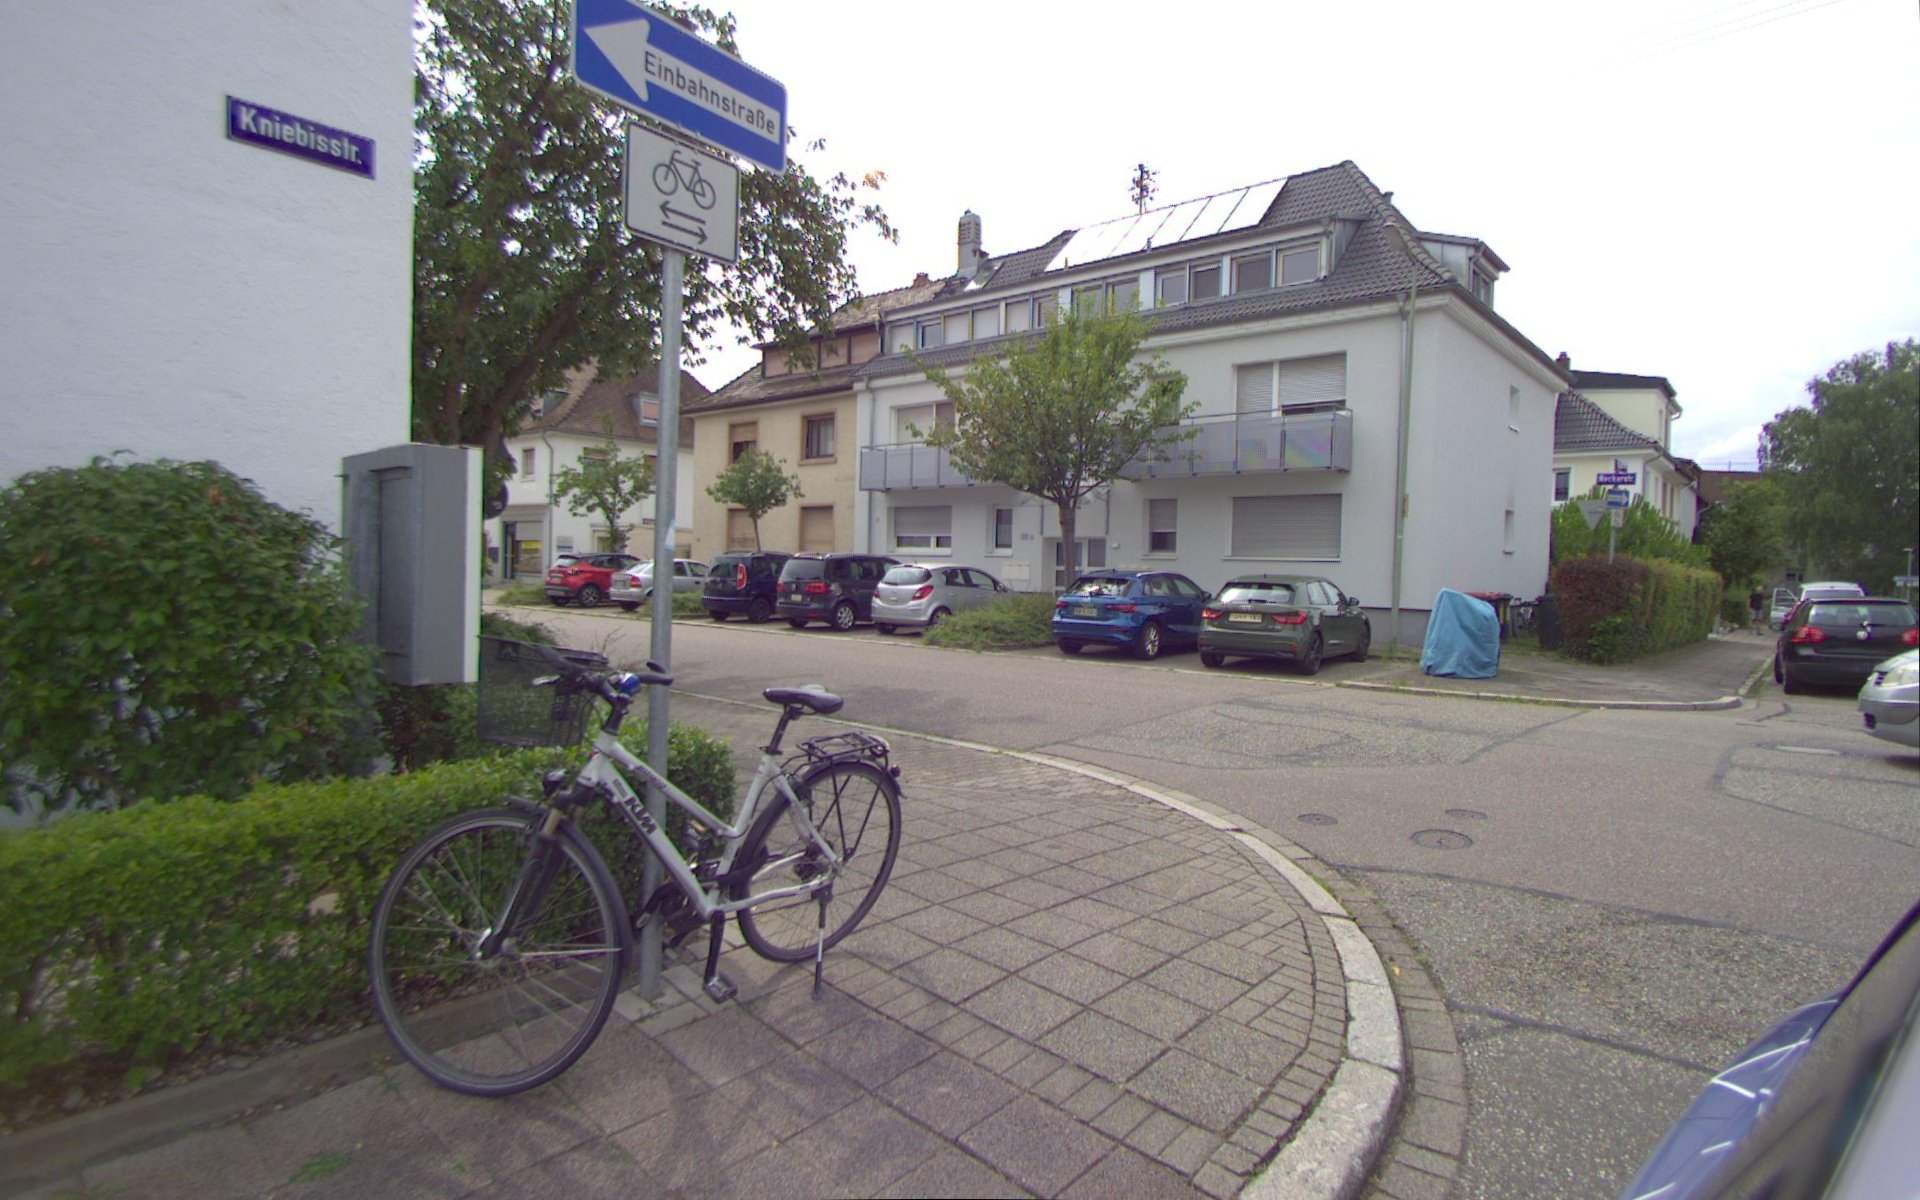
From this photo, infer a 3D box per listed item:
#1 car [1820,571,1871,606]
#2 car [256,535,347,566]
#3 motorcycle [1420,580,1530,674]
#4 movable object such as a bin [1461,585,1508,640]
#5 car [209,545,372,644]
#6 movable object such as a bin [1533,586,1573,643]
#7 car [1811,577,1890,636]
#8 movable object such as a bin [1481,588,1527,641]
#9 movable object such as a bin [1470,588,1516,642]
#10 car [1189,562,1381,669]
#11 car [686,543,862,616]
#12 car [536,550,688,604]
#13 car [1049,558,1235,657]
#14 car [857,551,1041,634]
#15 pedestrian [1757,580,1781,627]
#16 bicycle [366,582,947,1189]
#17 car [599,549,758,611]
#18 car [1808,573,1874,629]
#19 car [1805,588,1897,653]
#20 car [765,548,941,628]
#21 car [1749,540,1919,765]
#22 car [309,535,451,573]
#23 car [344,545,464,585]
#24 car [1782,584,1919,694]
[{"bbox_3d":[49.621,-0.695,56.795,1.902,1.754,3.718,2,4,38],"label":"car"},{"bbox_3d":[-32.530,-2.464,50.028,1.593,1.442,3.488,3,4,42],"label":"car"},{"bbox_3d":[7.450,0.337,14.579,0.935,1.225,2.169,3,2,39],"label":"motorcycle"},{"bbox_3d":[10.165,0.230,19.624,0.697,1.020,0.513,3,2,40],"label":"movable object such as a bin"},{"bbox_3d":[-12.137,-0.192,18.259,1.741,1.572,3.721,-3,5,-45],"label":"car"},{"bbox_3d":[11.048,0.267,18.850,0.545,1.020,0.604,2,2,38],"label":"movable object such as a bin"},{"bbox_3d":[29.904,0.164,34.069,1.798,1.816,3.760,3,2,39],"label":"car"},{"bbox_3d":[10.997,0.280,20.455,0.697,1.020,0.513,3,2,40],"label":"movable object such as a bin"},{"bbox_3d":[10.557,0.282,20.037,0.697,1.020,0.513,3,2,40],"label":"movable object such as a bin"},{"bbox_3d":[5.196,0.131,15.909,1.763,1.382,3.711,2,4,37],"label":"car"},{"bbox_3d":[-4.472,-0.577,24.765,1.860,1.637,3.940,3,4,42],"label":"car"},{"bbox_3d":[-10.293,-0.737,30.131,1.716,1.456,3.942,3,4,41],"label":"car"},{"bbox_3d":[3.170,0.042,17.256,1.553,1.429,3.477,3,4,42],"label":"car"},{"bbox_3d":[-0.147,-0.250,21.351,1.716,1.536,3.942,3,4,41],"label":"car"},{"bbox_3d":[30.491,0.126,38.143,0.555,1.740,0.608,2,1,30],"label":"pedestrian"},{"bbox_3d":[-0.701,0.580,2.852,0.433,1.193,1.617,2,4,37],"label":"bicycle"},{"bbox_3d":[-7.715,-0.616,27.983,1.716,1.536,3.942,3,4,41],"label":"car"},{"bbox_3d":[32.606,0.012,37.526,1.656,1.927,3.760,3,2,39],"label":"car"},{"bbox_3d":[23.663,0.482,26.974,1.656,1.536,3.760,3,2,39],"label":"car"},{"bbox_3d":[-2.312,-0.345,22.604,1.767,1.583,3.704,3,4,42],"label":"car"},{"bbox_3d":[8.616,0.435,7.039,4.817,1.624,1.763,3,2,41],"label":"car"},{"bbox_3d":[-24.427,-1.977,42.795,1.761,1.536,4.922,3,4,40],"label":"car"},{"bbox_3d":[-22.561,-1.475,41.188,1.716,1.536,3.942,3,4,41],"label":"car"},{"bbox_3d":[13.857,0.508,15.554,1.654,1.461,3.765,3,2,36],"label":"car"}]
